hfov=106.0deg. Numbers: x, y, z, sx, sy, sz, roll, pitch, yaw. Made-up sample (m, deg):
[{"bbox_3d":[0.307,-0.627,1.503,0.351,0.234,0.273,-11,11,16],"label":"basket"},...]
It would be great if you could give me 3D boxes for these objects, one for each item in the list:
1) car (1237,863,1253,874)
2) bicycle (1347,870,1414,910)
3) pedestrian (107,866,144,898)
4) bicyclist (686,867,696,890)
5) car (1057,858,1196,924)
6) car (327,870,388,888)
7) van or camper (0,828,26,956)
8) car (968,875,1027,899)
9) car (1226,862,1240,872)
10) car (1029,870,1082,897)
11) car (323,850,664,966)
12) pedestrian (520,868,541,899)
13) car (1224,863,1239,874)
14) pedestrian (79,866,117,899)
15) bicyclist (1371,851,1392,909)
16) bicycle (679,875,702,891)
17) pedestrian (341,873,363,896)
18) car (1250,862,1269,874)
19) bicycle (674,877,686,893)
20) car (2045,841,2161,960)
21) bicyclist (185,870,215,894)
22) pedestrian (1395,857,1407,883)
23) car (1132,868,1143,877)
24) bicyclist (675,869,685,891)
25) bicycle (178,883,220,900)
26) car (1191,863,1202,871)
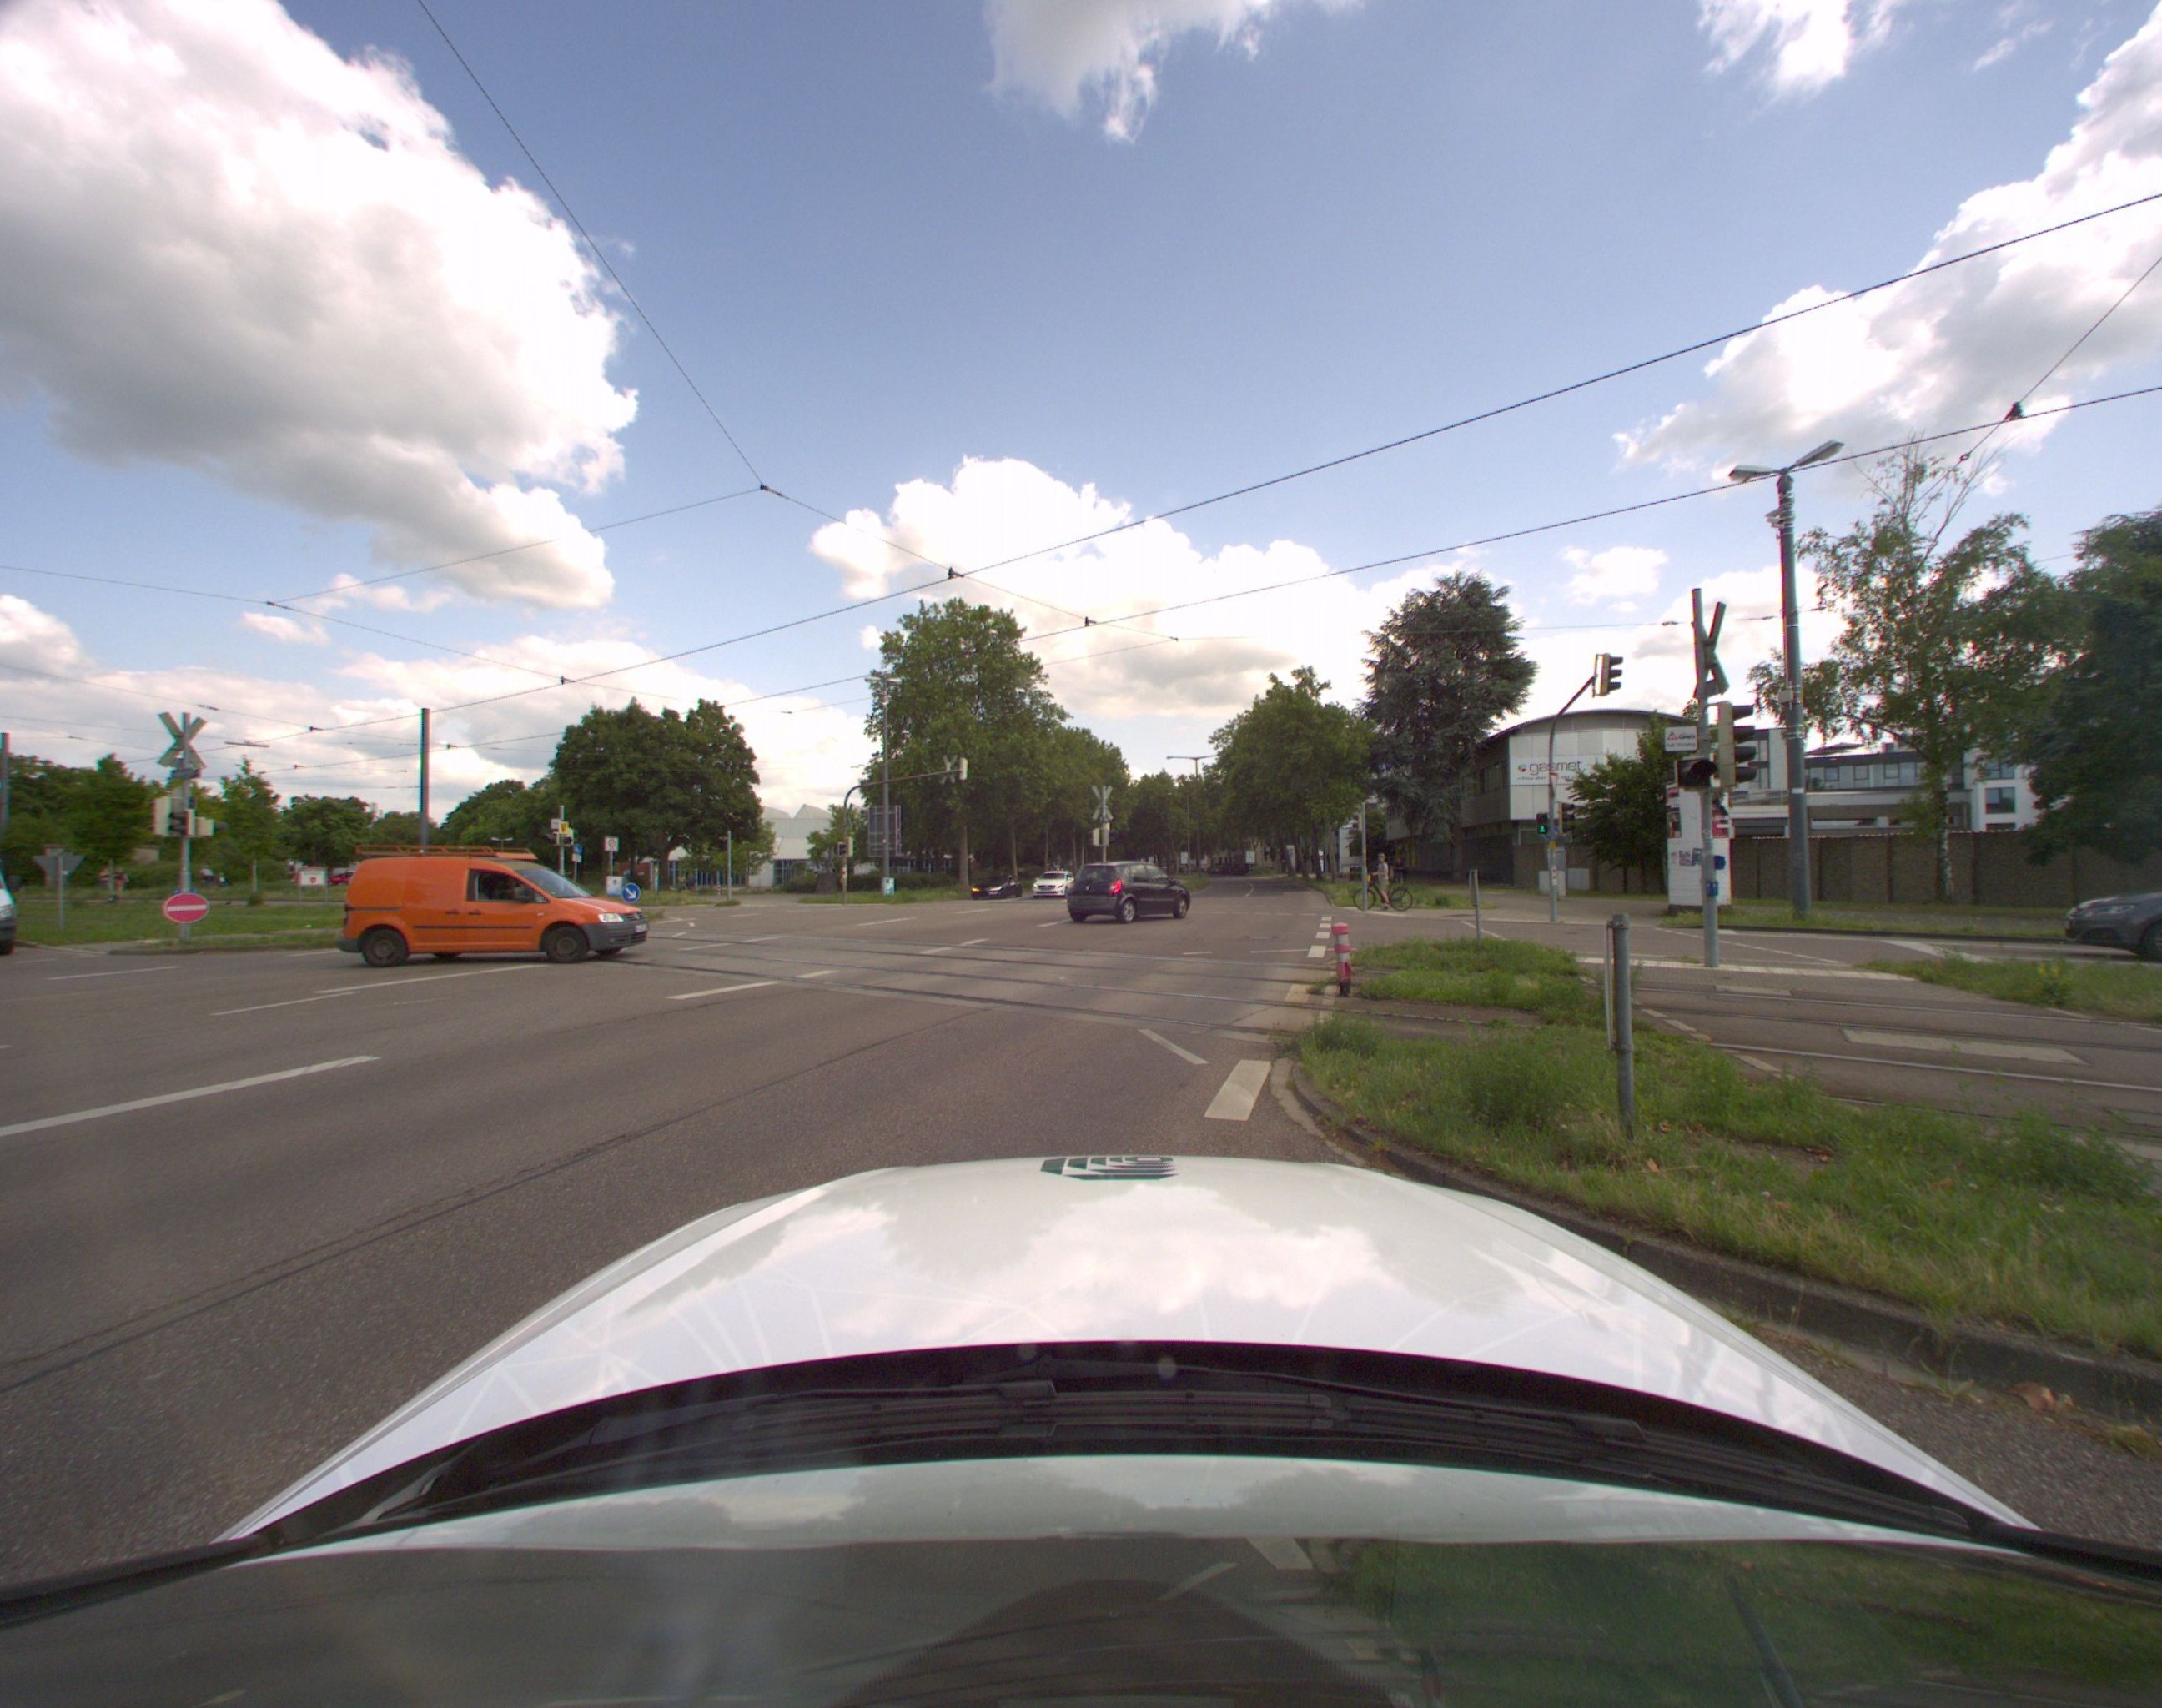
[{"bbox_3d":[25.476,2.195,126.732,1.985,1.574,4.005,-1,1,4],"label":"car"},{"bbox_3d":[9.478,1.129,25.768,1.928,1.235,0.544,-1,1,24],"label":"bicycle"},{"bbox_3d":[-61.739,1.820,52.617,1.164,2.014,1.111,-1,-1,16],"label":"pedestrian"},{"bbox_3d":[-27.154,1.719,56.716,0.556,1.554,0.484,1,-1,-18],"label":"bicyclist"},{"bbox_3d":[1.322,0.938,22.142,1.713,1.630,4.078,-1,-1,39],"label":"car"},{"bbox_3d":[-64.880,2.215,73.046,4.022,1.530,1.976,0,-1,-43],"label":"car"},{"bbox_3d":[-24.238,0.813,16.759,5.961,2.524,1.994,-1,1,27],"label":"van or camper"},{"bbox_3d":[-4.505,1.754,44.349,1.620,1.192,3.728,-1,-1,22],"label":"car"},{"bbox_3d":[27.231,2.384,145.814,1.985,1.574,4.005,-1,1,4],"label":"car"},{"bbox_3d":[-1.330,1.577,44.231,1.812,1.364,4.153,-1,-1,13],"label":"car"},{"bbox_3d":[-9.859,0.859,14.033,4.353,1.800,1.879,0,-1,-8],"label":"car"},{"bbox_3d":[-30.094,1.596,44.507,0.633,1.644,0.614,-1,1,7],"label":"pedestrian"},{"bbox_3d":[24.923,2.369,135.178,1.985,1.574,4.005,-1,1,4],"label":"car"},{"bbox_3d":[-62.104,1.800,51.470,1.164,2.014,1.111,-1,-1,16],"label":"pedestrian"},{"bbox_3d":[9.512,0.815,25.755,0.538,1.809,0.544,-1,1,24],"label":"bicyclist"},{"bbox_3d":[-27.172,2.035,56.698,1.379,1.130,0.559,1,-2,-19],"label":"bicycle"},{"bbox_3d":[-43.911,1.820,49.059,0.743,1.354,0.654,-1,1,21],"label":"pedestrian"},{"bbox_3d":[25.114,1.938,114.737,1.985,1.574,4.005,-1,1,4],"label":"car"},{"bbox_3d":[-29.091,2.209,59.075,0.565,1.130,1.365,0,-1,-36],"label":"bicycle"},{"bbox_3d":[17.476,0.652,11.536,4.680,1.722,2.012,-1,-1,43],"label":"car"},{"bbox_3d":[-55.645,1.776,51.427,0.827,1.489,0.967,-1,-1,14],"label":"bicyclist"},{"bbox_3d":[19.701,0.988,50.089,0.616,1.569,0.561,-1,1,15],"label":"pedestrian"},{"bbox_3d":[8.997,2.989,129.662,1.649,1.271,3.776,-1,1,4],"label":"car"},{"bbox_3d":[-29.111,1.880,59.114,0.489,1.554,0.550,2,-2,-36],"label":"bicyclist"},{"bbox_3d":[-55.687,2.393,51.419,1.963,1.040,0.955,-1,-1,14],"label":"bicycle"},{"bbox_3d":[24.880,2.874,175.323,1.985,1.574,4.005,-1,1,4],"label":"car"}]
